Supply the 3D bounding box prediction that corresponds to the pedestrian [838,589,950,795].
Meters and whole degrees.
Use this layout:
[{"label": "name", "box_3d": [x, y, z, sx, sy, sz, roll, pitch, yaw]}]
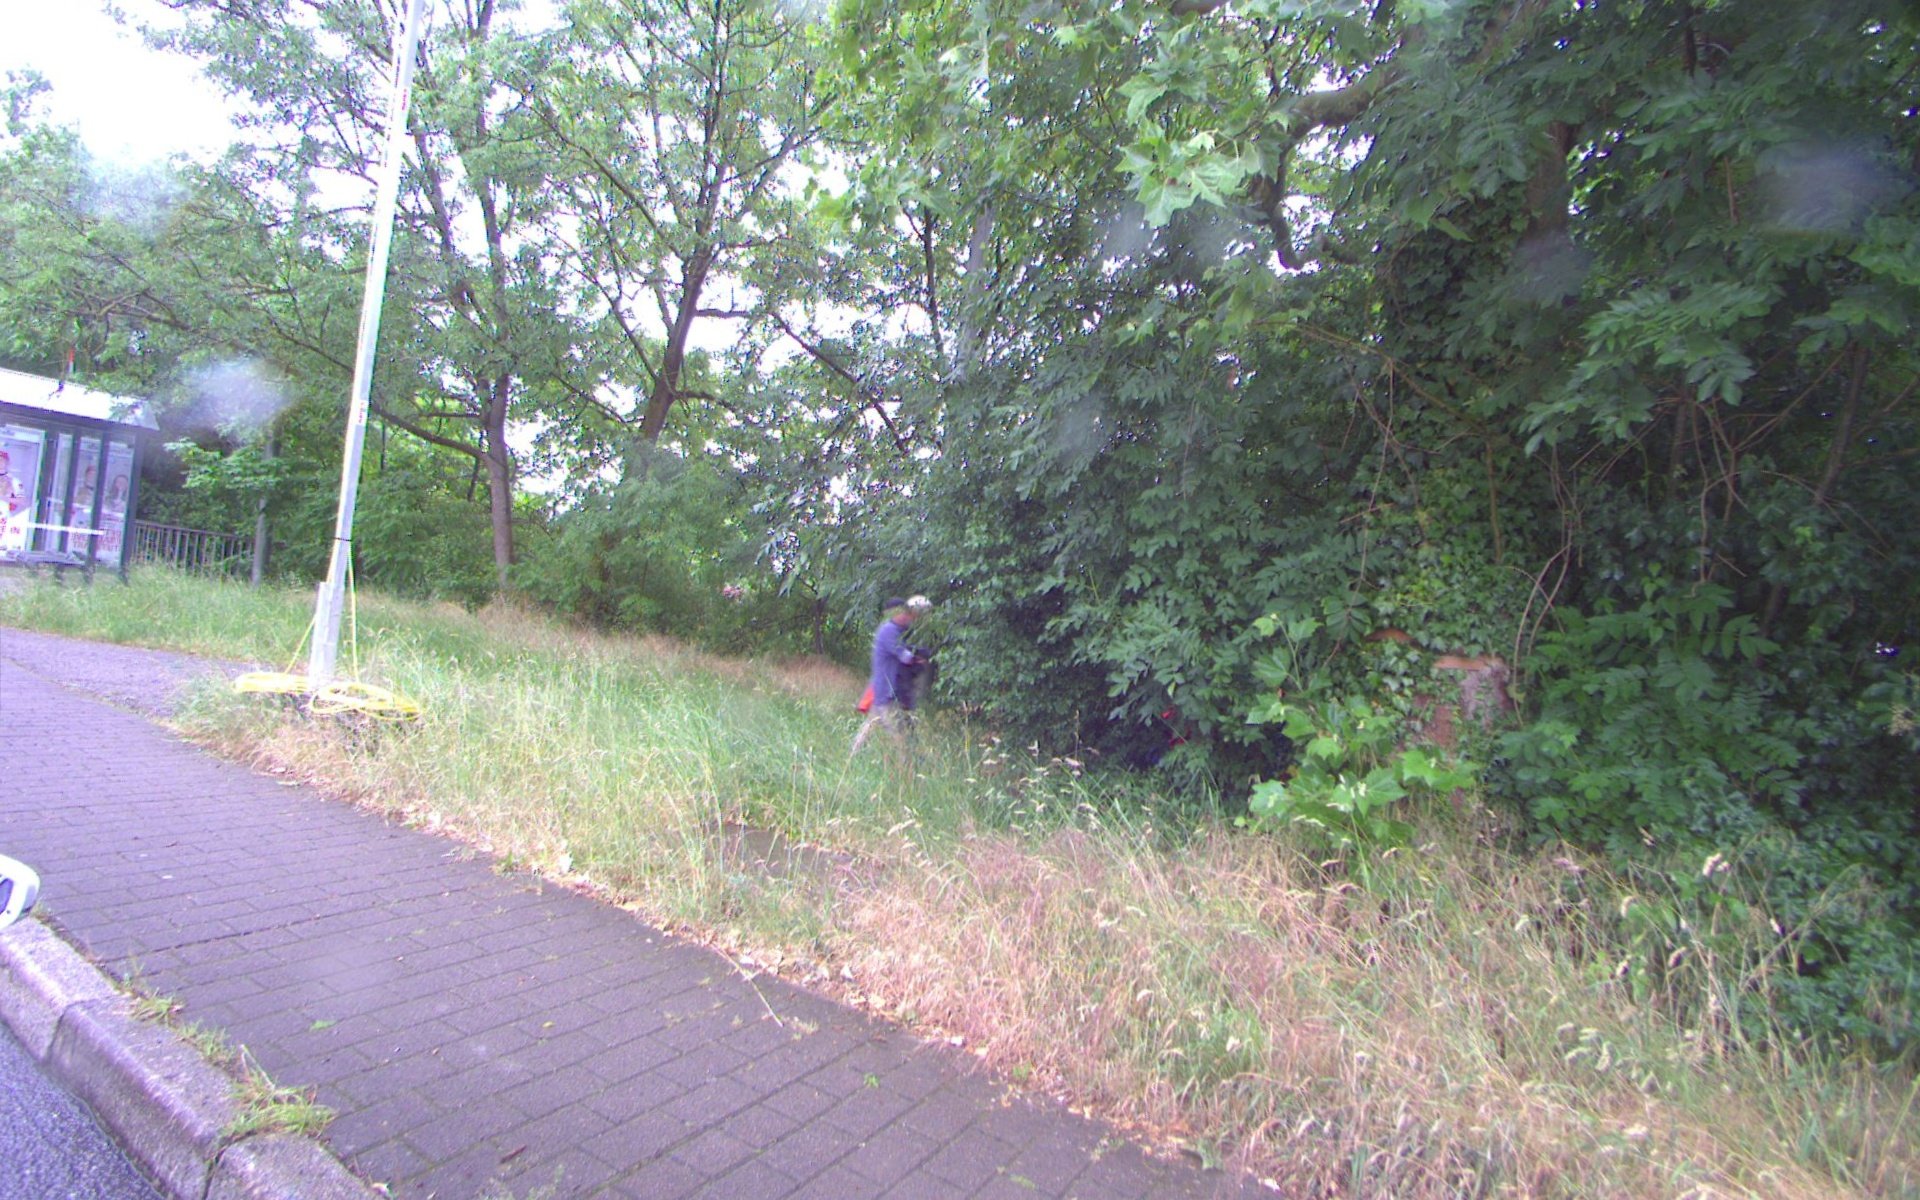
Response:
[{"label": "pedestrian", "box_3d": [-0.596, 0.837, 9.332, 0.655, 1.761, 0.684, 7, 0, 14]}]
